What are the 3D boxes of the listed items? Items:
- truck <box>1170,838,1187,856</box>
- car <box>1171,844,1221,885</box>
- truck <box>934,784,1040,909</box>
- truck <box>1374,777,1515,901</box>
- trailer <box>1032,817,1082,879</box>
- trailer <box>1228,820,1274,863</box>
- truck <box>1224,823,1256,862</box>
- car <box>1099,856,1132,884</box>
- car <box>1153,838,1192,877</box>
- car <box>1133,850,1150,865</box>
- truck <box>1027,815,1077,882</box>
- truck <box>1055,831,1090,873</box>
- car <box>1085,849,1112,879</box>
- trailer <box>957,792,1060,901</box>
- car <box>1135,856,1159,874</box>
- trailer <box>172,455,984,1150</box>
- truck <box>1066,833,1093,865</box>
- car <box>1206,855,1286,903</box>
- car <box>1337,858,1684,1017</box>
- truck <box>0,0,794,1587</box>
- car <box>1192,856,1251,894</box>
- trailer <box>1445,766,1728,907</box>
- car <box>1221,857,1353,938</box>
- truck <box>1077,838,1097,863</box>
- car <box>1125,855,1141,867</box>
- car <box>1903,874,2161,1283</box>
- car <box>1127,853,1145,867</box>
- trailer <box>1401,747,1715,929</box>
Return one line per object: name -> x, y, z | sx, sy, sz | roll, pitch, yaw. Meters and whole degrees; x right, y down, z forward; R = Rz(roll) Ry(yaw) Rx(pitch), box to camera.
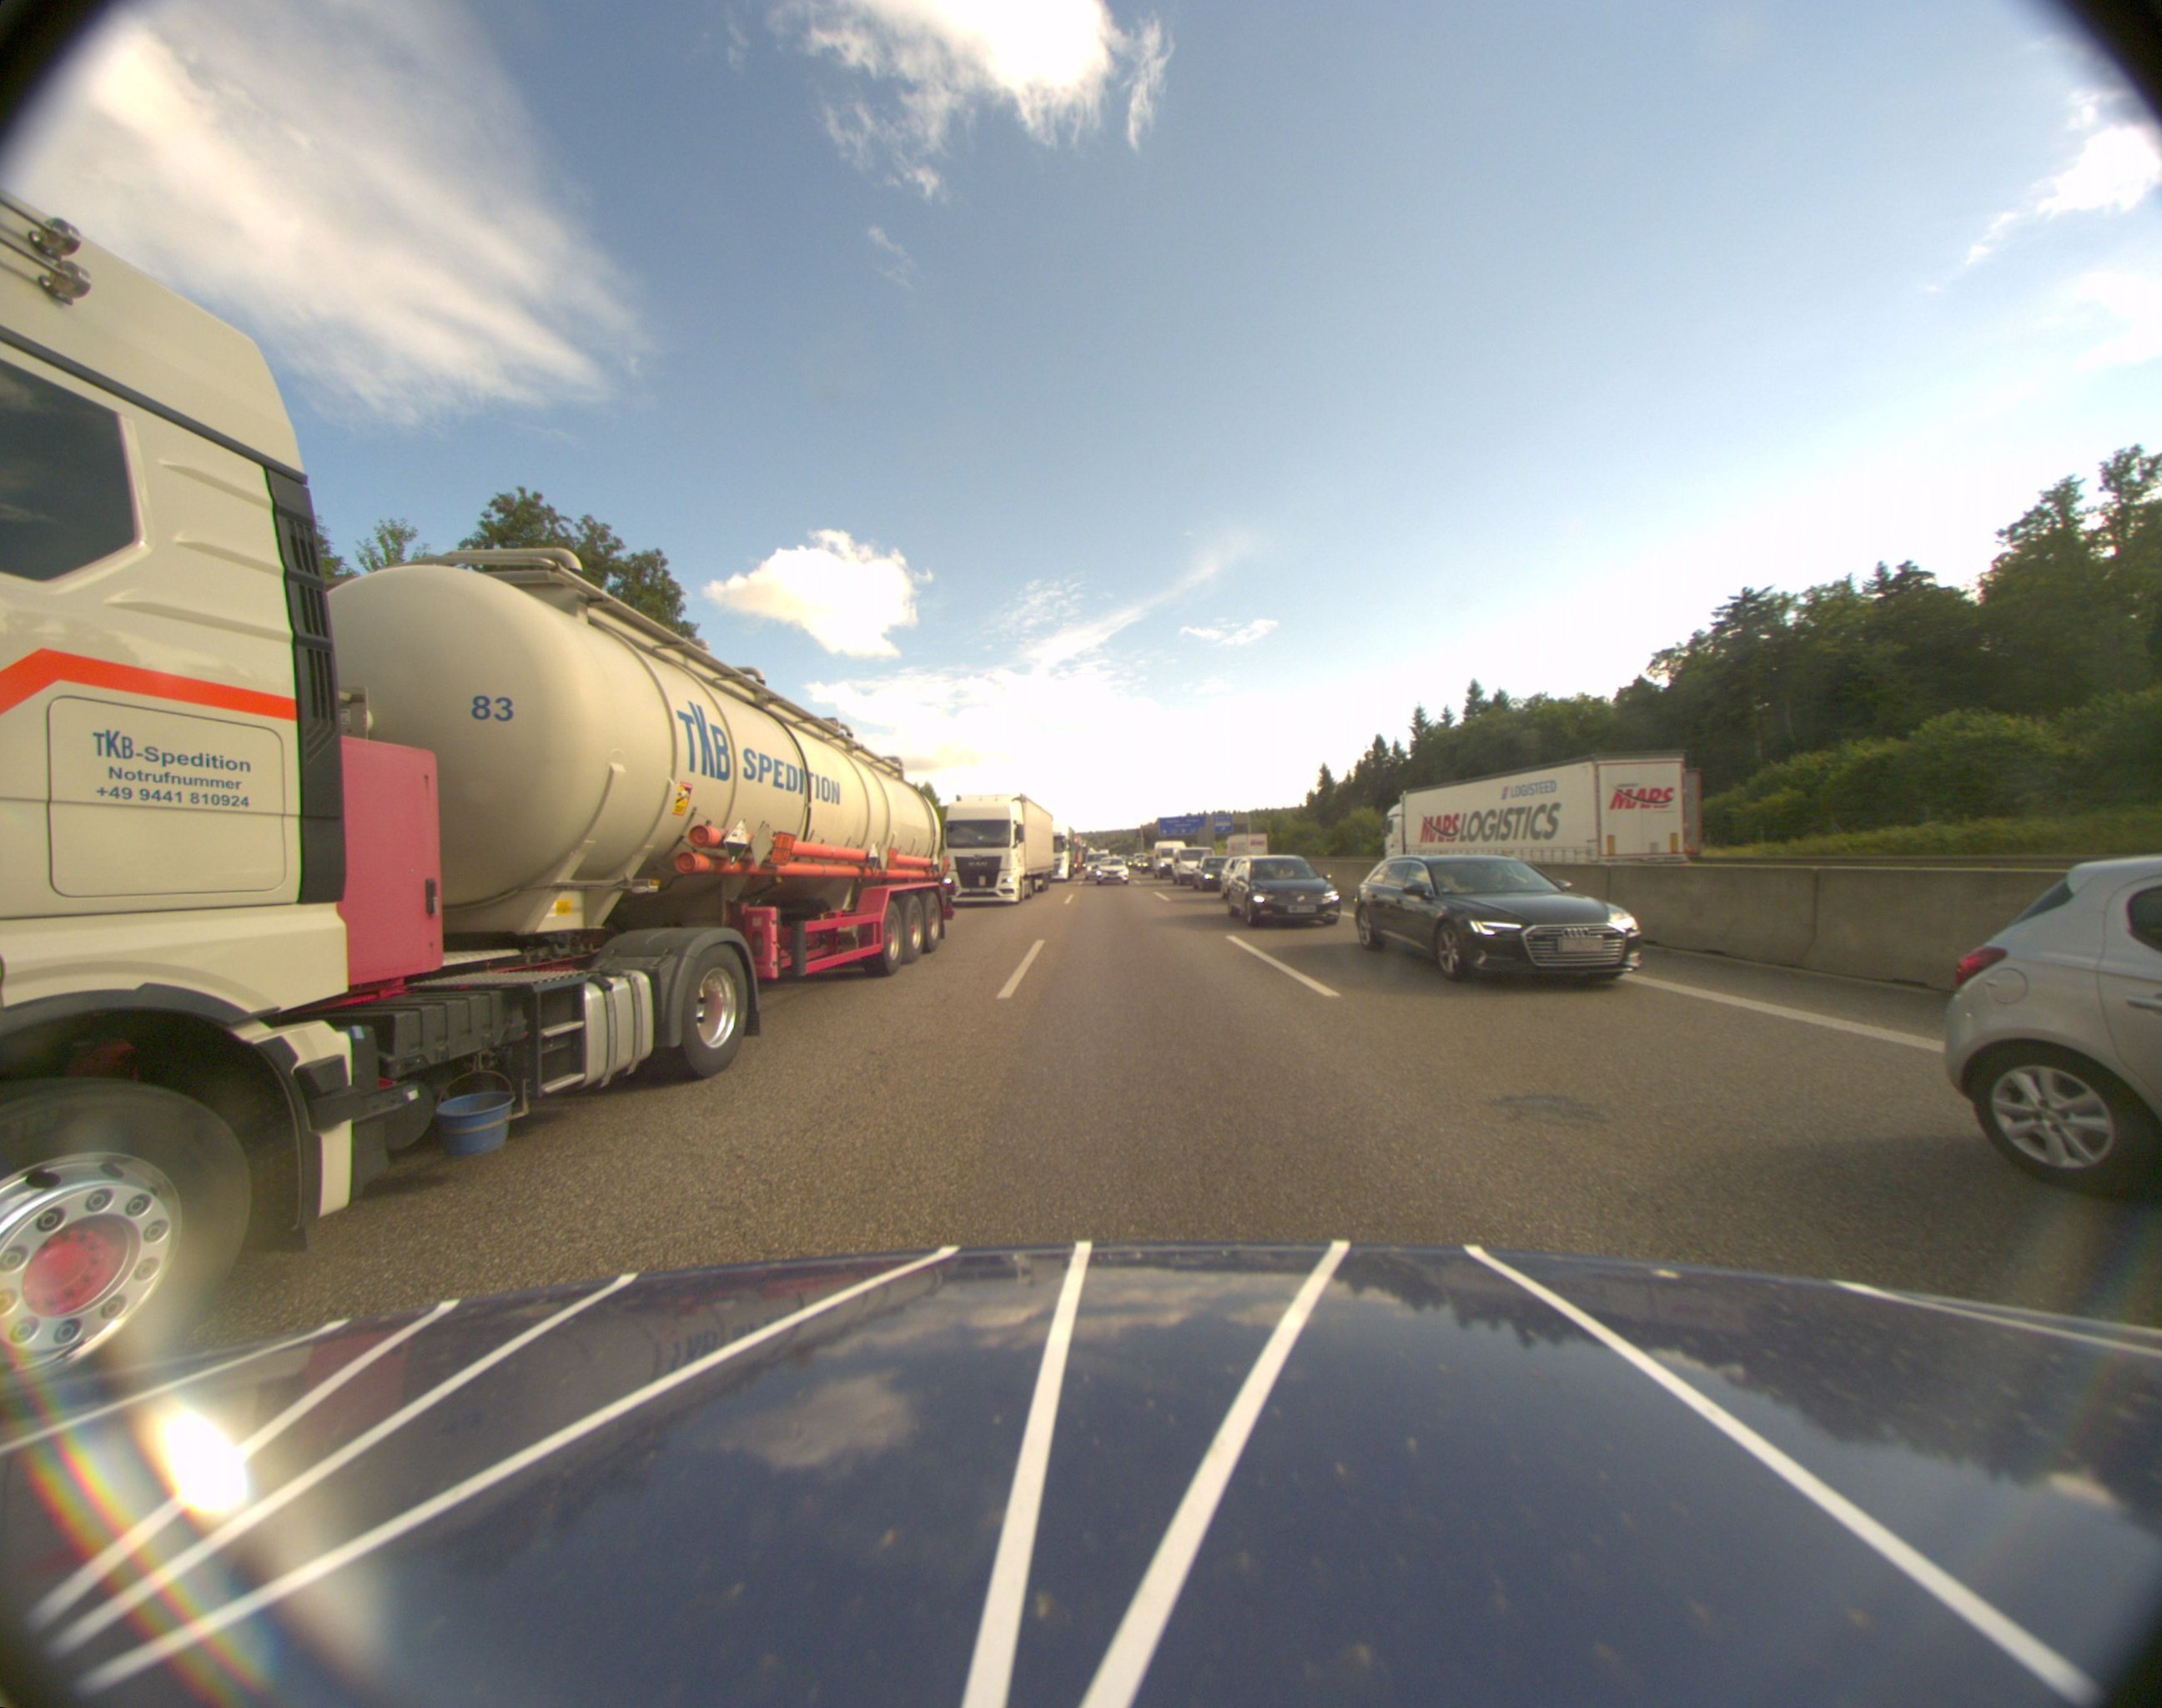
truck -> 25.836, -1.870, 202.238 | 2.939, 4.329, 13.909 | -2, 1, 1
car -> 6.009, 0.525, 40.256 | 1.947, 1.953, 4.848 | -2, 0, 2
truck -> -3.235, -0.260, 27.878 | 2.840, 4.048, 5.708 | -2, 0, 2
truck -> 16.559, -0.650, 35.301 | 3.096, 5.071, 7.141 | -2, 1, 1
trailer -> -1.648, -0.391, 59.284 | 2.841, 4.177, 13.614 | -2, 0, 2
trailer -> 22.563, -1.582, 101.735 | 3.049, 5.250, 13.834 | -2, 1, 1
truck -> 22.661, -1.614, 108.341 | 3.047, 5.222, 6.882 | -2, 1, 1
car -> 1.975, 0.867, 44.474 | 1.809, 1.487, 4.667 | -1, 0, 2
car -> 6.230, 0.220, 52.342 | 2.054, 2.557, 5.862 | -1, 0, 2
car -> 7.714, 0.416, 96.698 | 1.920, 1.785, 3.811 | -2, 0, 2
truck -> -1.890, -0.360, 52.013 | 2.841, 4.177, 5.708 | -2, 0, 2
truck -> -0.812, -0.293, 83.096 | 2.840, 4.178, 12.046 | -2, 1, 3
car -> 1.295, 0.672, 54.599 | 1.809, 2.052, 4.770 | -2, 0, 2
trailer -> -2.930, -0.313, 35.365 | 2.832, 4.047, 13.373 | -2, 0, 2
car -> 5.637, 0.919, 65.532 | 1.809, 1.423, 3.660 | -2, 0, 2
trailer -> -3.692, -0.295, 10.062 | 2.805, 4.003, 11.183 | -2, 0, 2
truck -> -0.123, -0.695, 107.771 | 2.840, 4.178, 12.046 | -2, 1, 3
car -> 5.571, 0.805, 26.202 | 1.809, 1.423, 4.667 | -2, 0, 2
car -> 5.037, 0.838, 9.896 | 1.887, 1.463, 4.852 | -2, 0, 2
truck -> -3.956, -0.241, 3.355 | 2.809, 4.020, 5.904 | -2, 0, 2
car -> 5.888, 0.827, 32.204 | 1.809, 1.423, 3.994 | -2, 0, 2
trailer -> 21.124, -0.677, 33.803 | 2.934, 4.802, 14.652 | -2, 1, 1
car -> 4.357, 0.840, 16.838 | 1.915, 1.469, 4.569 | -2, 0, 4
truck -> 1.173, -0.645, 136.078 | 2.840, 4.178, 12.046 | -2, 1, 3
car -> 7.149, 0.895, 105.053 | 1.920, 1.535, 3.811 | -2, 0, 2
car -> 4.801, 0.828, 1.626 | 1.751, 1.457, 4.041 | -1, 0, 1
car -> 6.006, 0.686, 83.762 | 1.809, 1.423, 3.660 | -2, 0, 2
trailer -> 16.483, -0.527, 28.496 | 3.096, 5.044, 13.833 | -2, 1, 1
